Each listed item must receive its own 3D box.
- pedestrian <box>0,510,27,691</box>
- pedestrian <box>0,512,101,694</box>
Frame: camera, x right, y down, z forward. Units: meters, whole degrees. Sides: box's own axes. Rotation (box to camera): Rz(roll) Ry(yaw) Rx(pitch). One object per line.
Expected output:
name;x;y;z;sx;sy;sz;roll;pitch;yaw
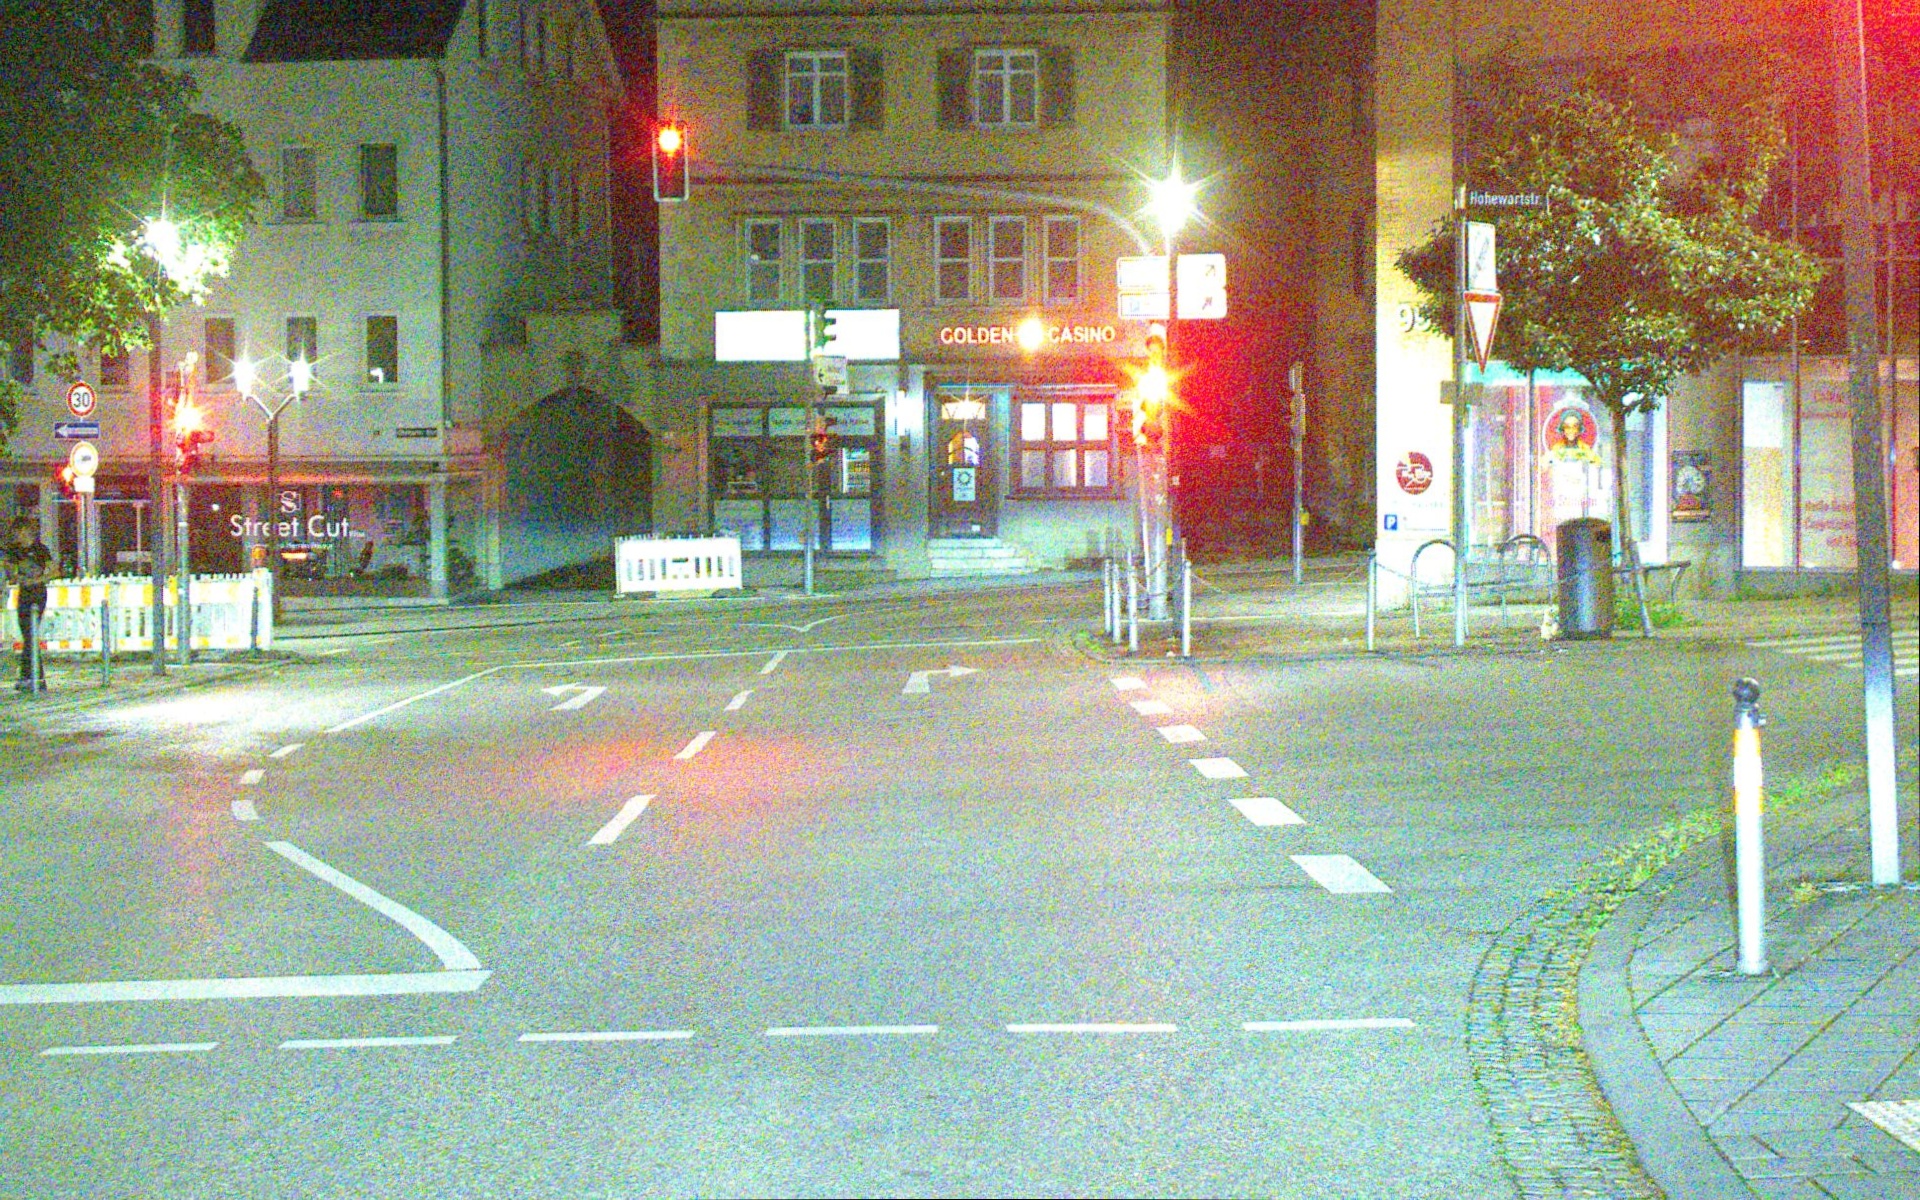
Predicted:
pedestrian;-9.801;0.002;34.395;0.716;1.789;0.569;1;-1;6
pedestrian;-9.095;0.032;34.225;0.717;1.789;0.736;0;-1;28
